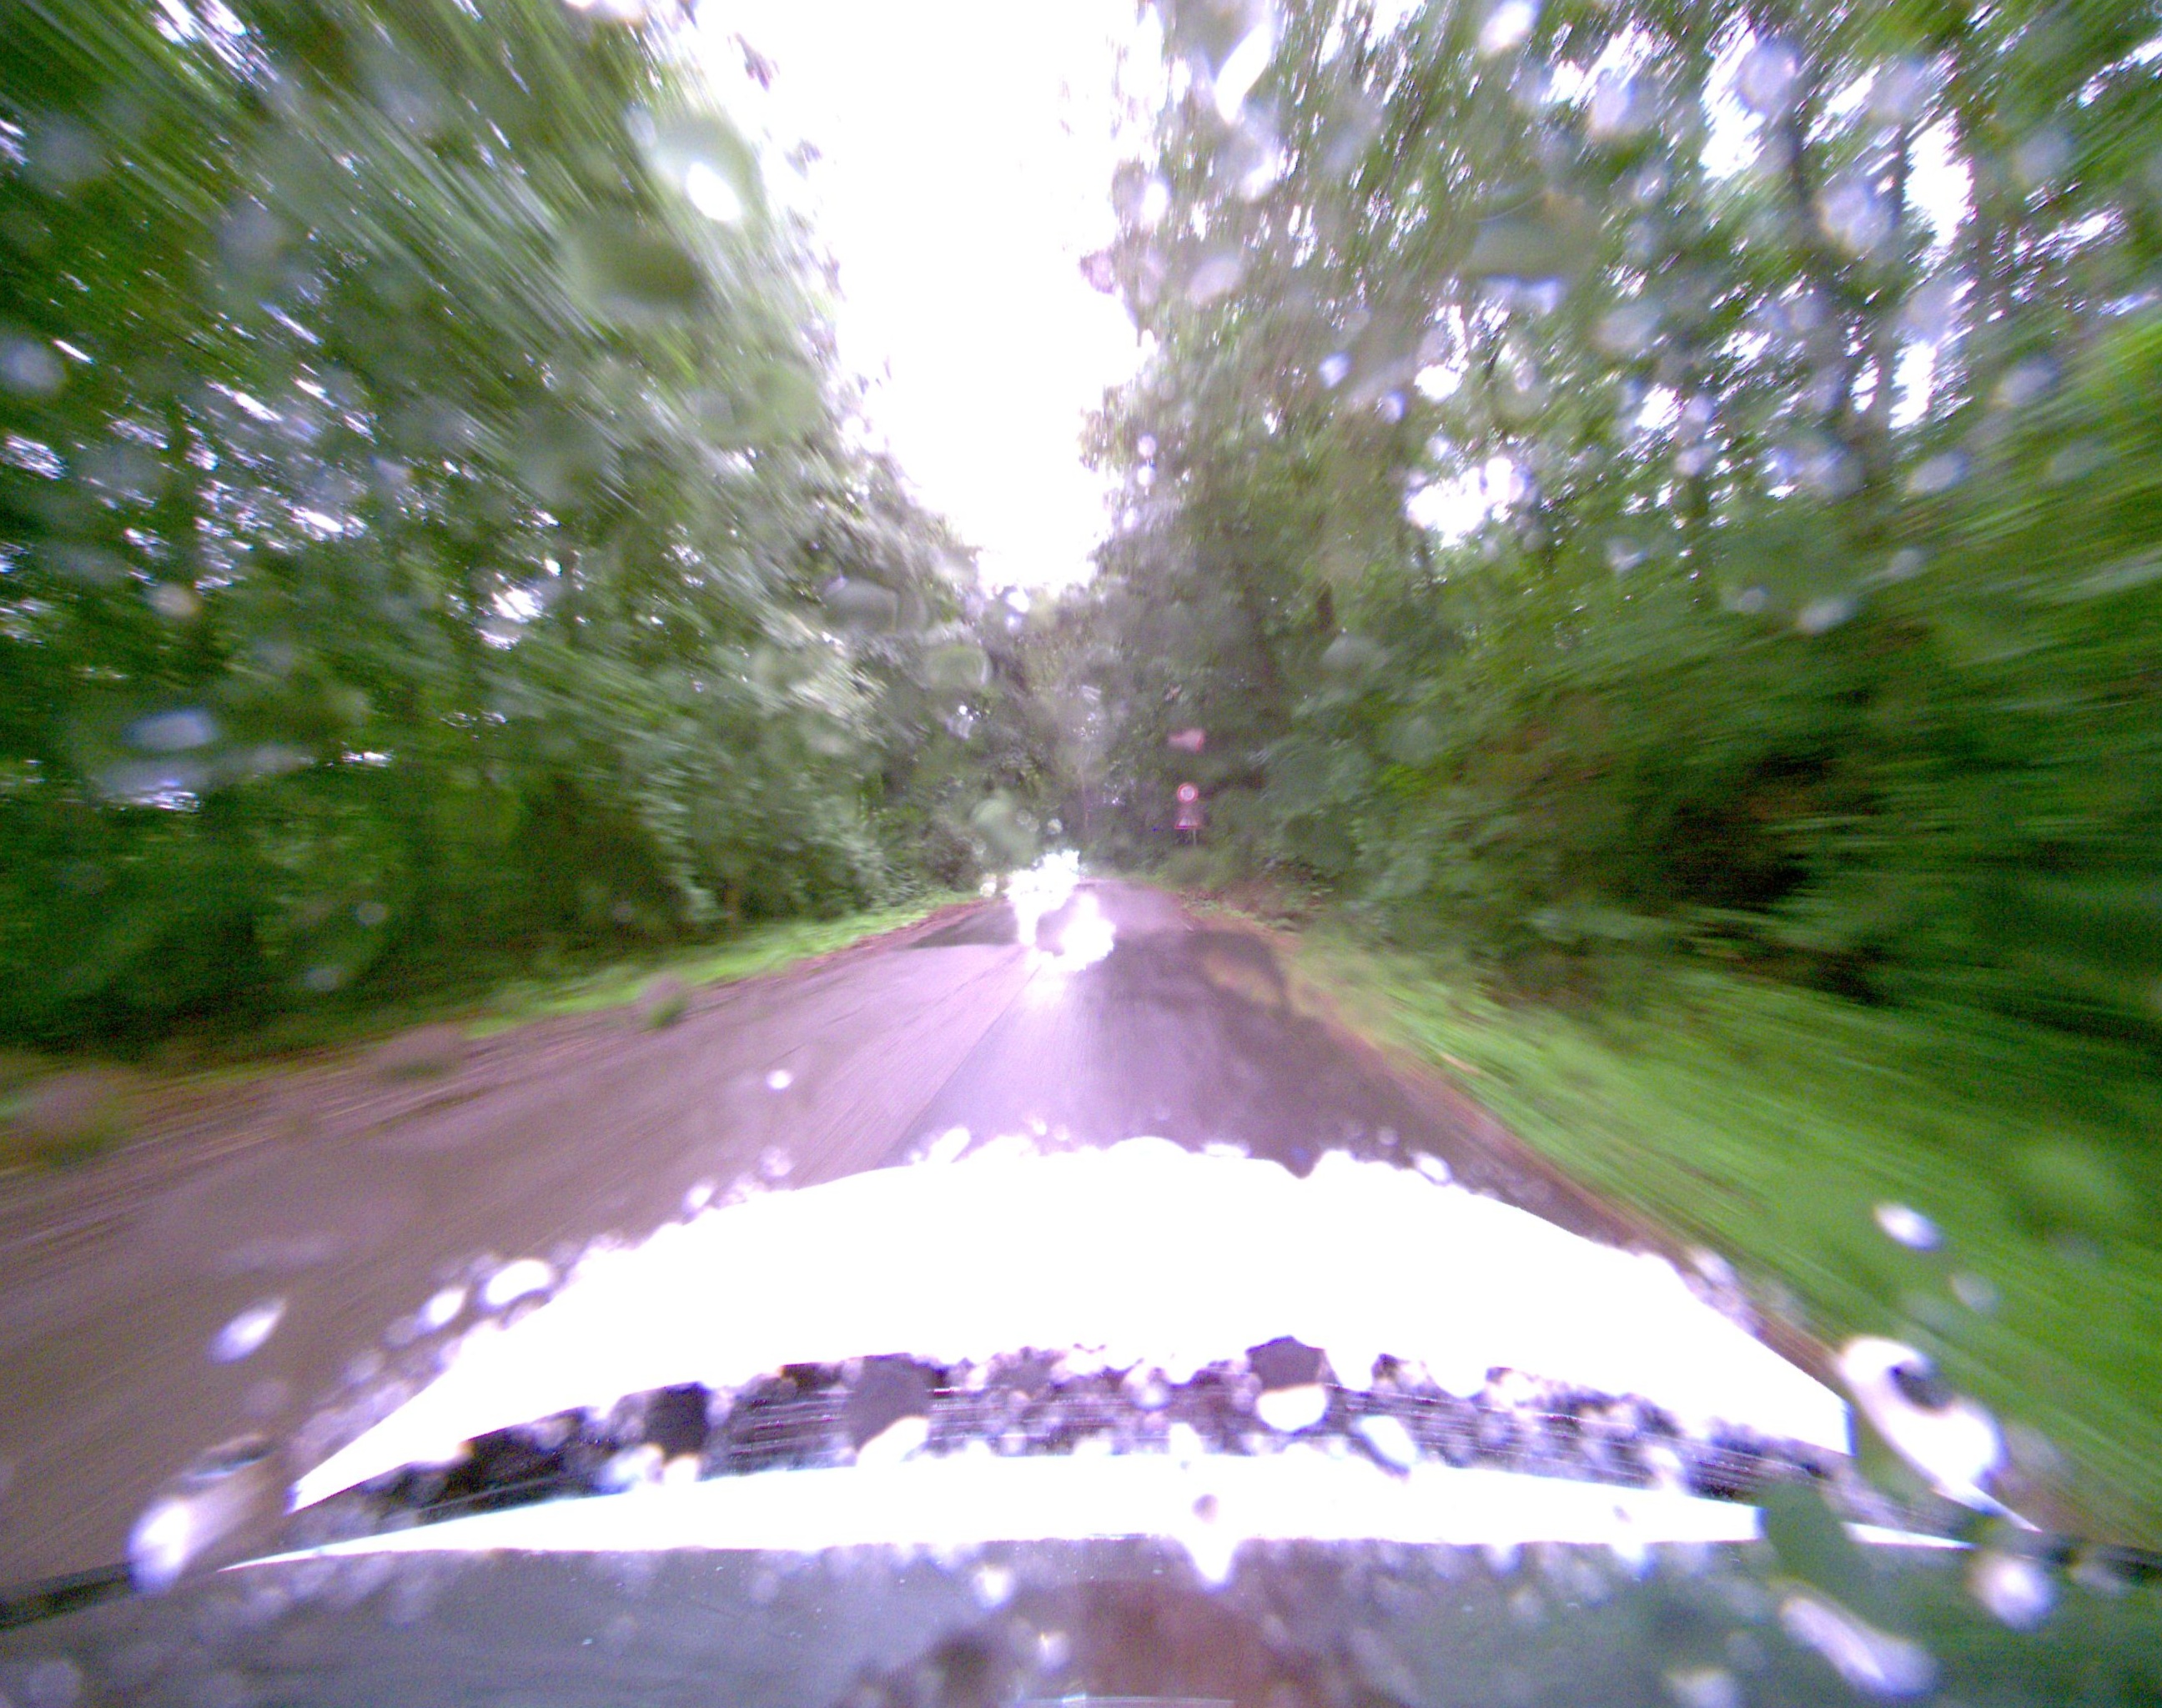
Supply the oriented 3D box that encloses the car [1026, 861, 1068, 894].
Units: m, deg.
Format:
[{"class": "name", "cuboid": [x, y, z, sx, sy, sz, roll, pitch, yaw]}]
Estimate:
[{"class": "car", "cuboid": [-1.690, 1.140, 41.170, 1.707, 1.475, 3.892, -5, -1, 2]}]
